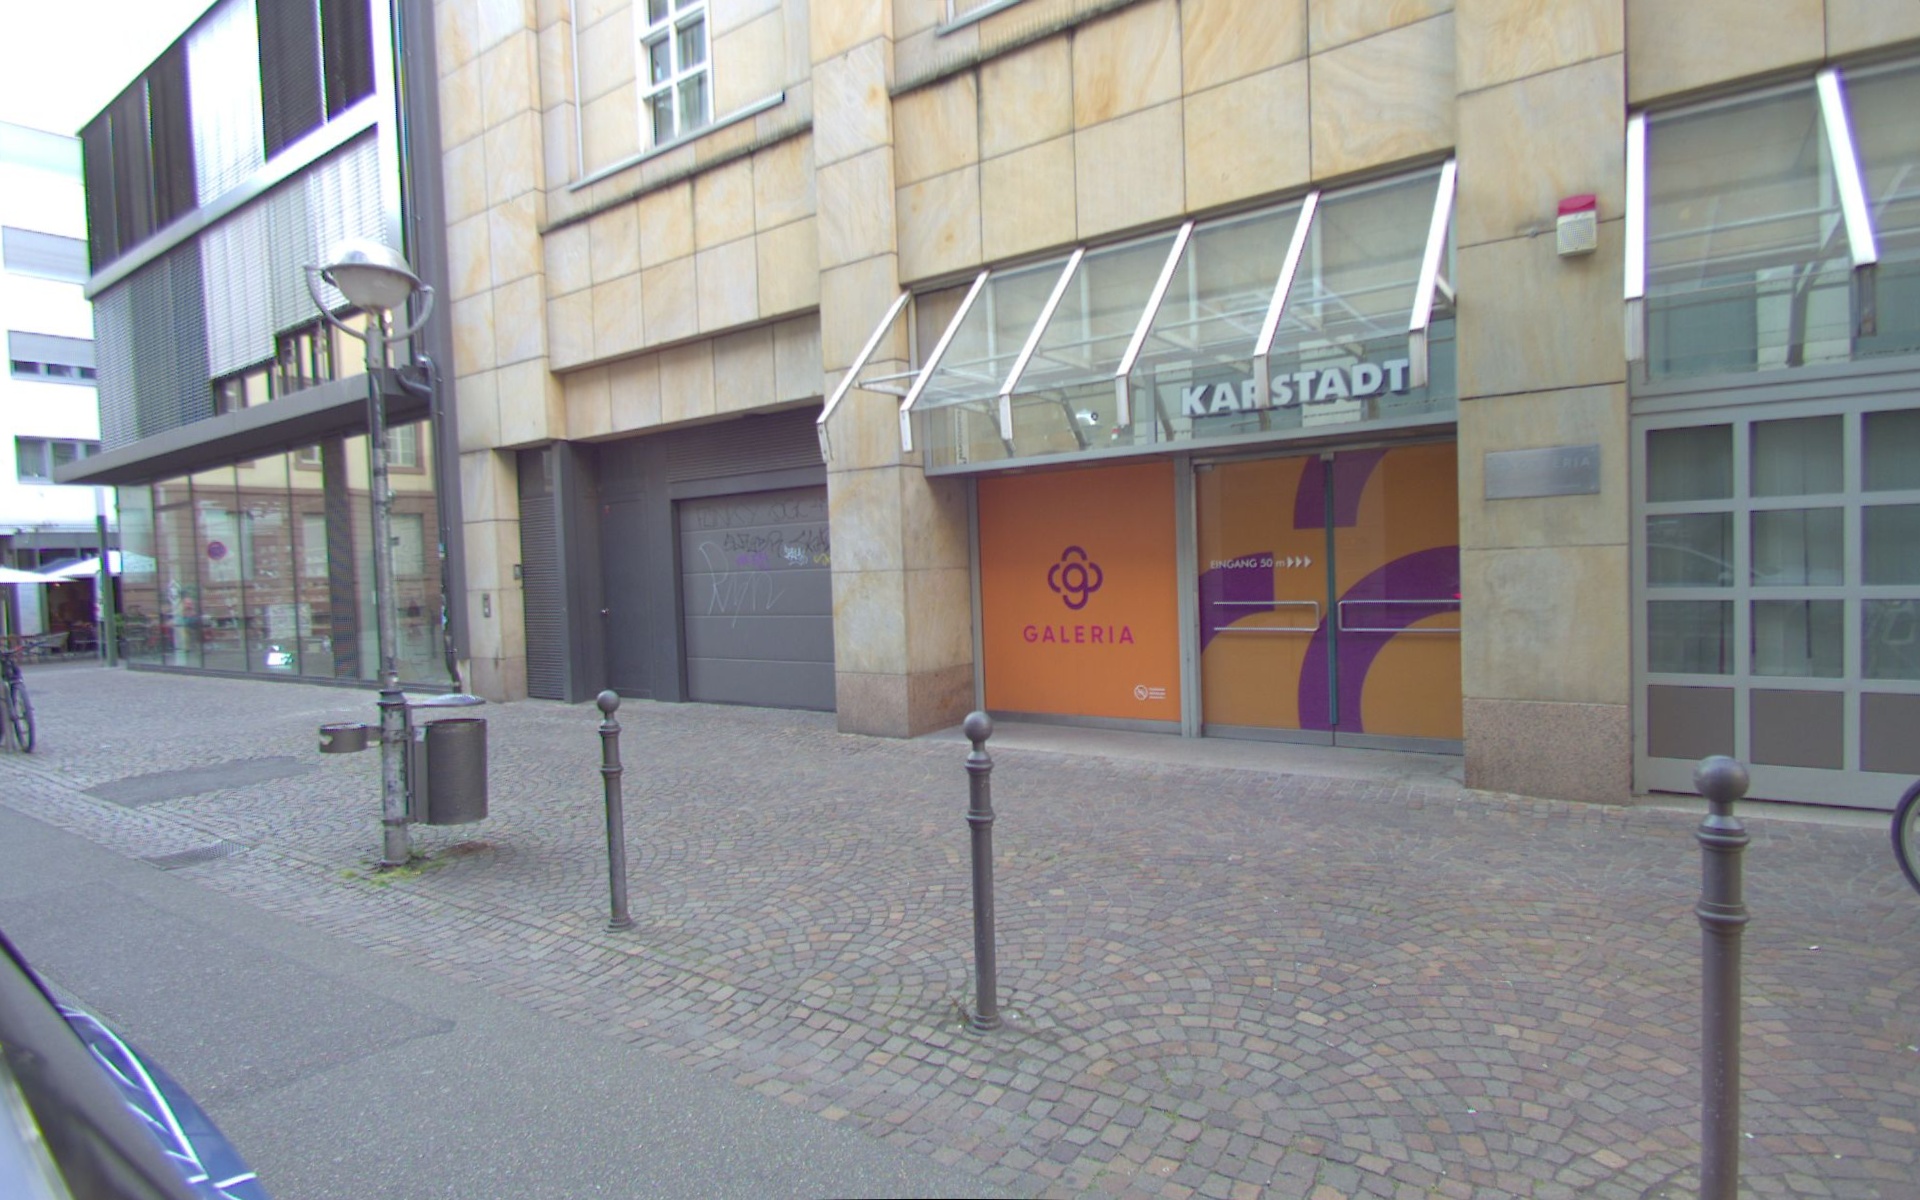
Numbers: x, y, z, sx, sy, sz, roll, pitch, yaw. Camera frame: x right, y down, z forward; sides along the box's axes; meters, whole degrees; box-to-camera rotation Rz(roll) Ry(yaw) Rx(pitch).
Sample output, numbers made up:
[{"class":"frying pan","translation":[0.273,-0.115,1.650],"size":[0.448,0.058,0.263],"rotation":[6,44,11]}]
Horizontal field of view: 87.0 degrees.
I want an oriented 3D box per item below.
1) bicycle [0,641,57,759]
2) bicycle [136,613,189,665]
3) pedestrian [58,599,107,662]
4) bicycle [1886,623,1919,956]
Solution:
[{"class":"bicycle","translation":[-10.215,1.016,10.711],"size":[1.924,1.141,0.407],"rotation":[-1,2,32]},{"class":"bicycle","translation":[-18.821,0.923,23.862],"size":[1.699,1.144,0.461],"rotation":[-4,0,35]},{"class":"pedestrian","translation":[-23.820,0.819,27.487],"size":[0.789,1.661,0.718],"rotation":[-2,1,30]},{"class":"bicycle","translation":[4.109,0.659,3.113],"size":[0.685,1.120,1.779],"rotation":[-3,1,-40]}]
